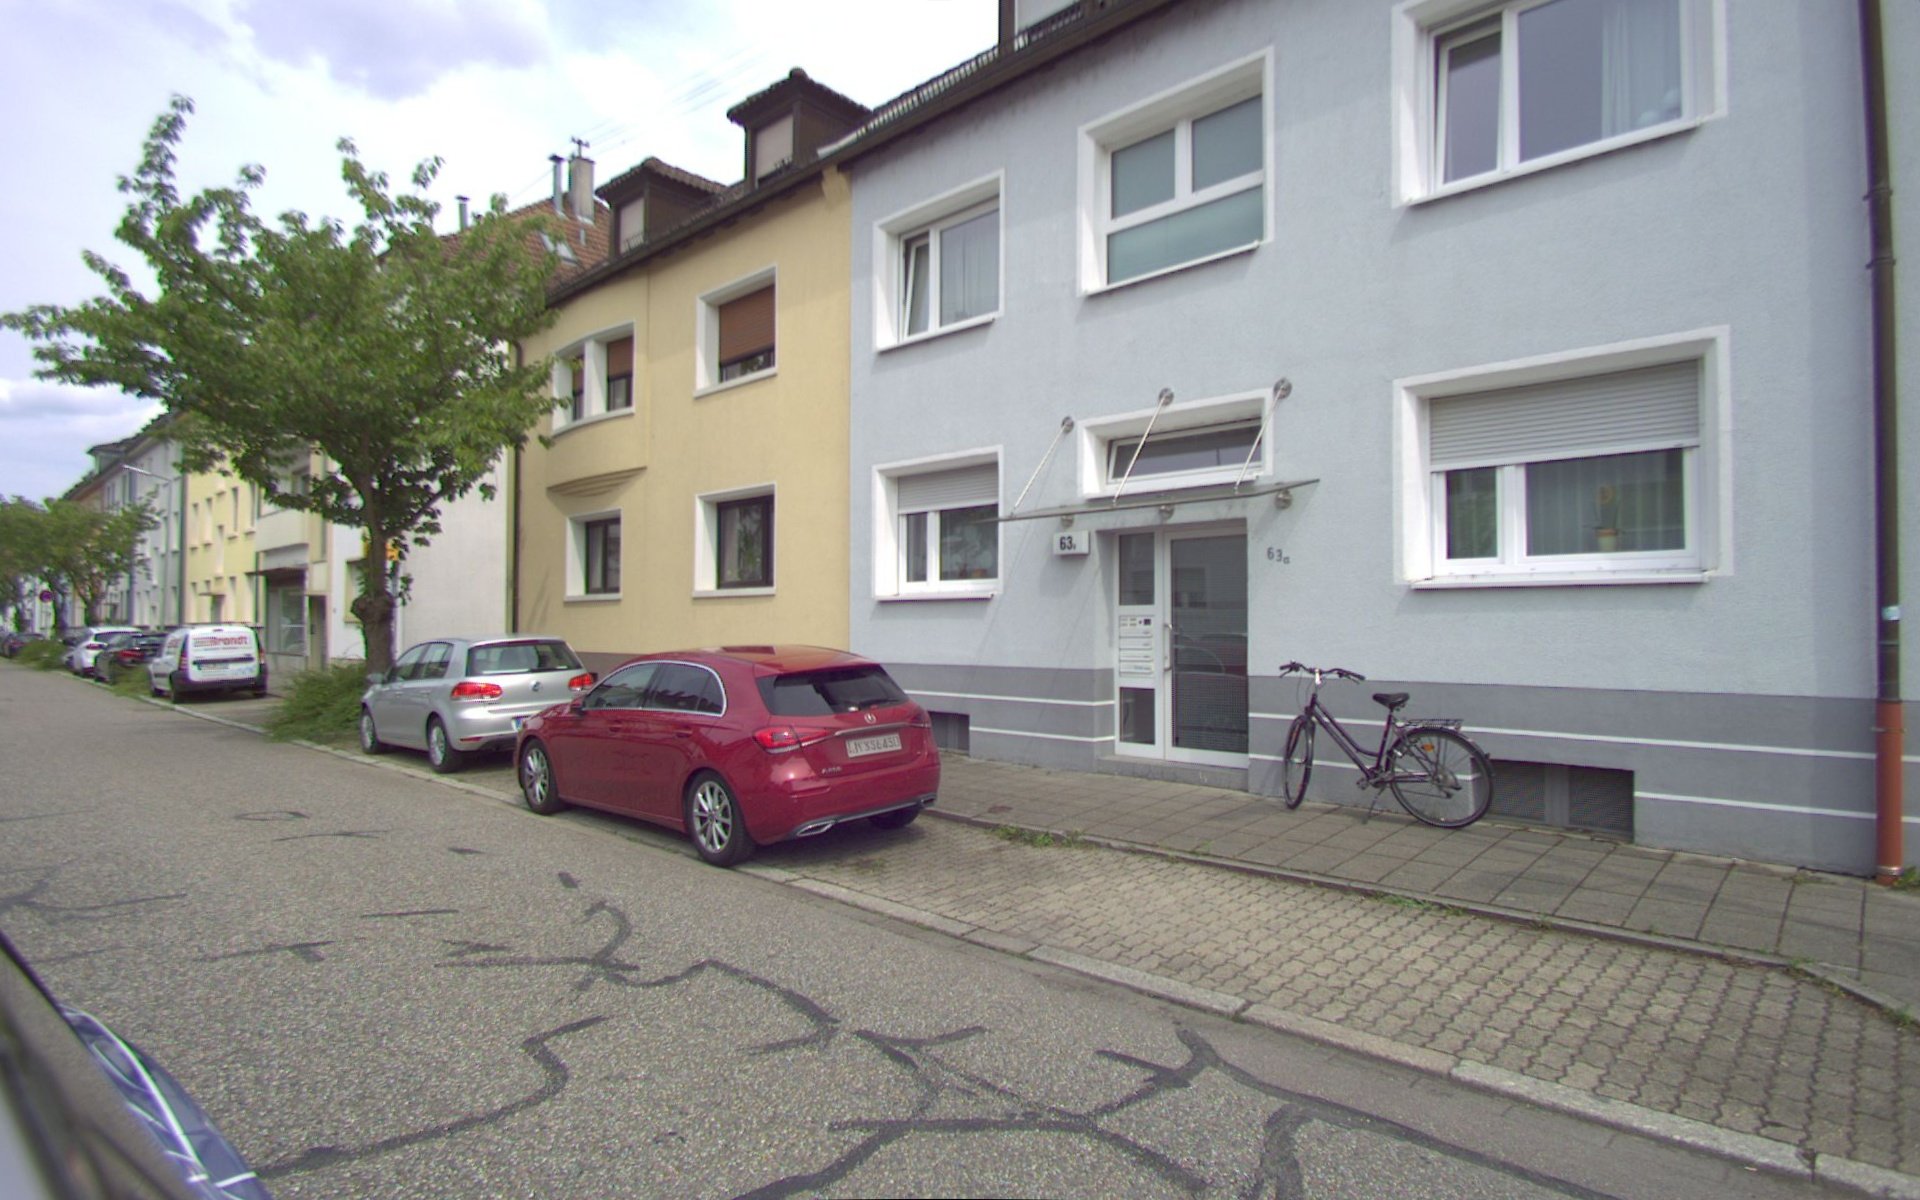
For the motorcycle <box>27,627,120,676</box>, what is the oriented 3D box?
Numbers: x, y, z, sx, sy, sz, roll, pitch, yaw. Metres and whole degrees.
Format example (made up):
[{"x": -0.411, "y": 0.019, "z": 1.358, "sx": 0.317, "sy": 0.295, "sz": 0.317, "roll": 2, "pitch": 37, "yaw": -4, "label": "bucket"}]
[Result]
[{"x": -31.473, "y": 1.826, "z": 35.970, "sx": 2.439, "sy": 1.689, "sz": 0.938, "roll": 0, "pitch": -3, "yaw": 0, "label": "motorcycle"}]

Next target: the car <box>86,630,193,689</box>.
[{"x": -23.315, "y": 1.617, "z": 28.684, "sx": 4.813, "sy": 1.503, "sz": 1.770, "roll": -1, "pitch": -1, "yaw": 44, "label": "car"}]

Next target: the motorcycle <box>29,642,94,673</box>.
[{"x": -36.407, "y": 2.342, "z": 41.025, "sx": 0.592, "sy": 1.201, "sz": 1.901, "roll": 0, "pitch": -3, "yaw": 16, "label": "motorcycle"}]

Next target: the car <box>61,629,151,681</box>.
[{"x": -27.914, "y": 1.754, "z": 33.018, "sx": 4.256, "sy": 1.568, "sz": 1.738, "roll": -2, "pitch": -3, "yaw": 43, "label": "car"}]

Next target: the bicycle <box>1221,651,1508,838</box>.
[{"x": 2.848, "y": 0.968, "z": 7.290, "sx": 1.873, "sy": 1.162, "sz": 0.485, "roll": -2, "pitch": -4, "yaw": 43, "label": "bicycle"}]

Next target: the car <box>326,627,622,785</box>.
[{"x": -5.958, "y": 1.112, "z": 12.159, "sx": 4.276, "sy": 1.402, "sz": 1.752, "roll": -2, "pitch": 3, "yaw": 44, "label": "car"}]

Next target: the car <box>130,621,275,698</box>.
[{"x": -17.340, "y": 1.330, "z": 23.095, "sx": 4.383, "sy": 1.593, "sz": 1.897, "roll": -2, "pitch": -4, "yaw": 44, "label": "car"}]

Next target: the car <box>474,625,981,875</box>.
[{"x": -2.121, "y": 0.996, "z": 8.324, "sx": 4.513, "sy": 1.497, "sz": 1.856, "roll": -2, "pitch": -4, "yaw": 43, "label": "car"}]

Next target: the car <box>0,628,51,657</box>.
[{"x": -52.650, "y": 2.378, "z": 56.887, "sx": 4.119, "sy": 1.495, "sz": 1.817, "roll": -1, "pitch": 0, "yaw": 42, "label": "car"}]
